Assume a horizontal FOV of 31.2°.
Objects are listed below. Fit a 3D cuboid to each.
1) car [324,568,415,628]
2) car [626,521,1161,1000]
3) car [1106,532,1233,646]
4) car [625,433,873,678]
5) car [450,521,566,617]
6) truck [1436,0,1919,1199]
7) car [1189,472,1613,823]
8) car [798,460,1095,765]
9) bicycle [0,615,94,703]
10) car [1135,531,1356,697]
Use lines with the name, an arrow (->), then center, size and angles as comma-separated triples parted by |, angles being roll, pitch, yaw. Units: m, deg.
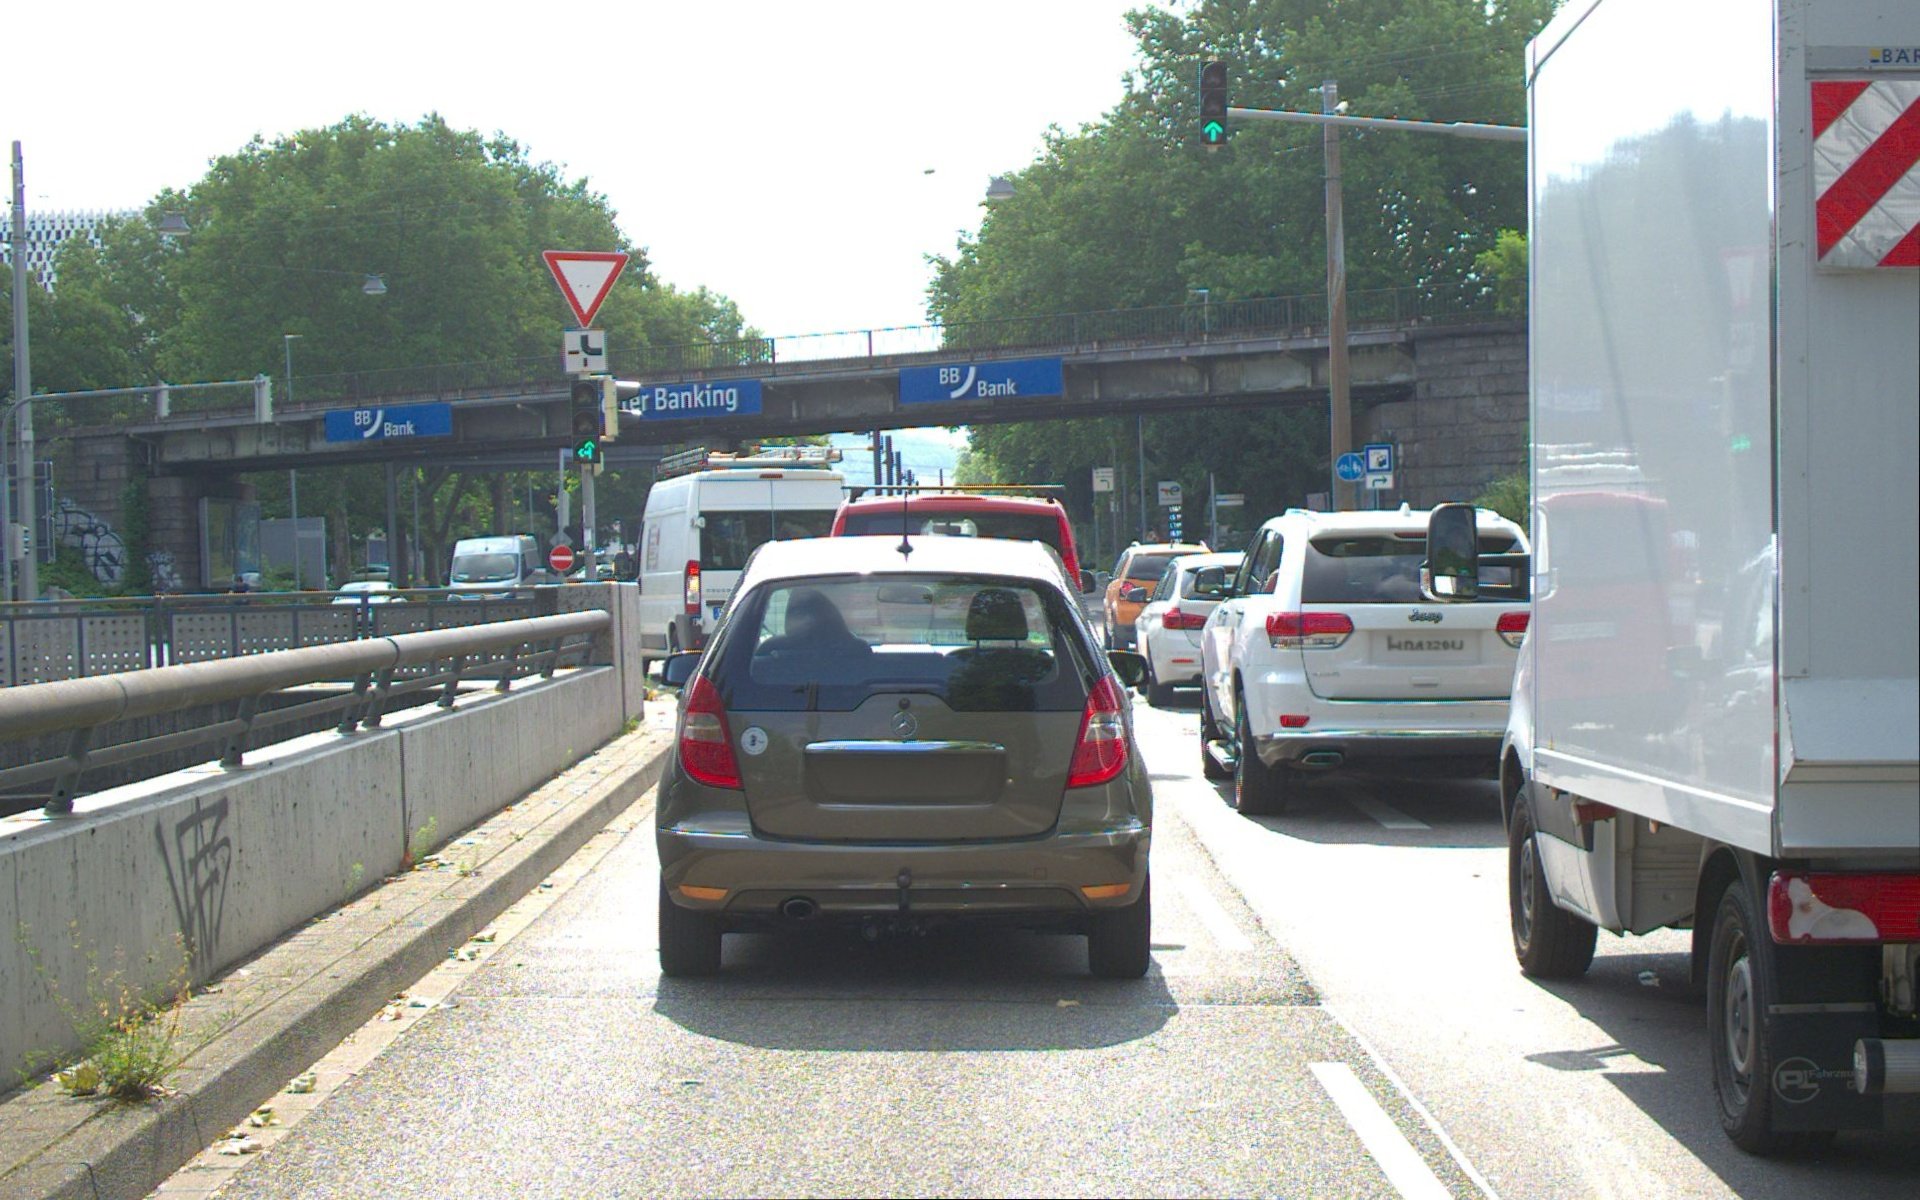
car -> -15.741, -0.063, 91.856 | 1.702, 1.471, 4.000 | -4, 0, -1
car -> -0.218, 0.505, 13.436 | 1.792, 1.603, 3.799 | 0, 1, 0
car -> 2.858, -0.135, 47.546 | 1.544, 1.516, 3.617 | 0, 0, 0
car -> -2.574, -0.477, 40.695 | 2.197, 2.717, 4.933 | 0, 0, -12
car -> -12.334, -0.849, 94.104 | 2.258, 2.518, 5.626 | -1, 0, 1
truck -> 2.920, -0.184, 9.804 | 2.447, 3.110, 6.027 | 0, 0, 2
car -> 2.536, 0.196, 20.869 | 1.995, 1.895, 4.509 | 0, 2, 0
car -> -0.087, 0.042, 25.006 | 1.955, 2.010, 4.677 | 0, 1, 0
bicycle -> -9.452, 0.575, 33.276 | 1.972, 0.823, 0.612 | -1, 0, 4
car -> 2.704, 0.139, 33.286 | 1.852, 1.516, 3.617 | 0, 0, 0
